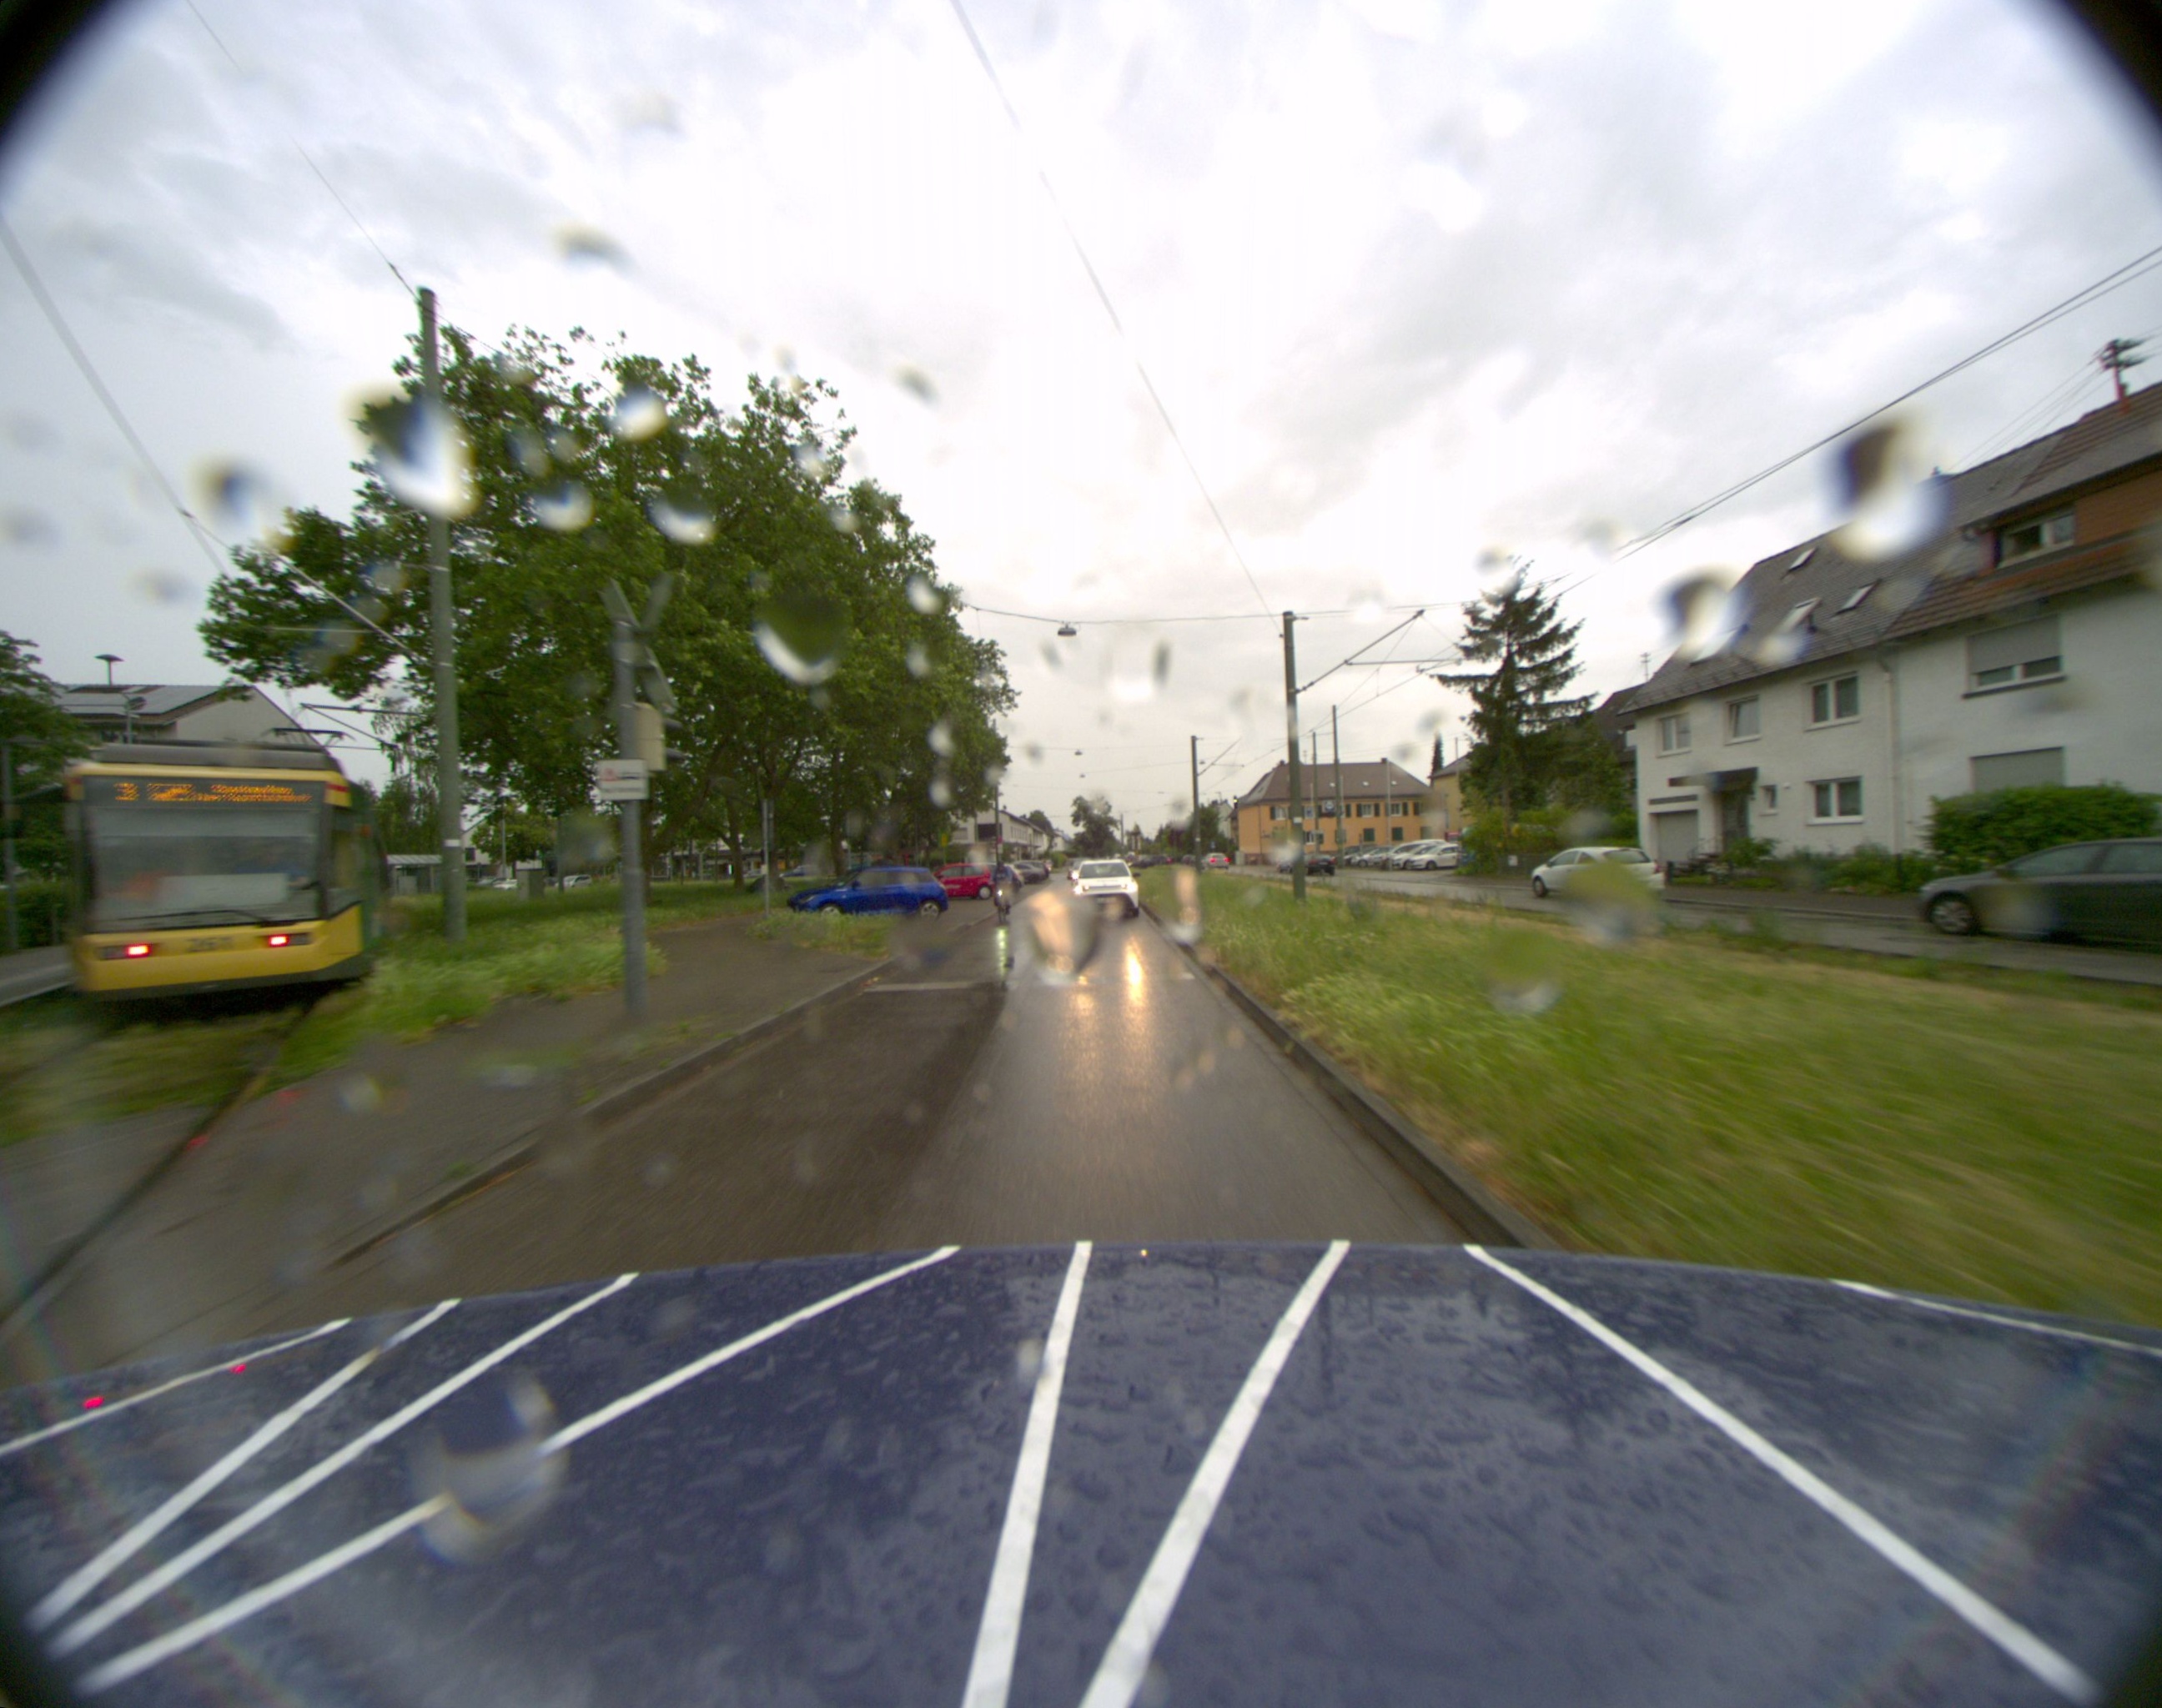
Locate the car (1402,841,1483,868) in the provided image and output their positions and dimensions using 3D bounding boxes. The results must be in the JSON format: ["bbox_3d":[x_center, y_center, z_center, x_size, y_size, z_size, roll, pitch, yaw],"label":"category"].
[{"bbox_3d":[22.002,0.021,46.398,3.996,1.455,1.914,-3,0,3],"label":"car"}]

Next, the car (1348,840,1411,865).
[{"bbox_3d":[21.610,-0.107,55.153,3.993,1.586,1.915,-3,0,15],"label":"car"}]

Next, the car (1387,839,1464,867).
[{"bbox_3d":[22.104,-0.088,48.870,3.996,1.586,1.914,-3,0,3],"label":"car"}]

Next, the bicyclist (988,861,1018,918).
[{"bbox_3d":[-2.126,0.957,20.834,0.710,1.503,0.715,-1,1,1],"label":"bicyclist"}]

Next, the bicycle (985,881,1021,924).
[{"bbox_3d":[-2.121,1.305,20.848,0.710,1.031,2.099,-1,0,1],"label":"bicycle"}]

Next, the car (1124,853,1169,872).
[{"bbox_3d":[6.291,0.817,72.291,4.120,1.732,2.001,-1,0,9],"label":"car"}]

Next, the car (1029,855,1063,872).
[{"bbox_3d":[-3.301,0.902,70.497,1.857,1.500,4.113,-1,0,-22],"label":"car"}]

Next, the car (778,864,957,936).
[{"bbox_3d":[-5.359,1.088,19.182,4.006,1.518,1.715,-2,1,-31],"label":"car"}]

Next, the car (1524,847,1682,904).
[{"bbox_3d":[14.461,0.538,21.349,1.715,1.432,4.000,-1,0,0],"label":"car"}]

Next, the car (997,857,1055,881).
[{"bbox_3d":[-3.900,1.044,53.865,3.711,1.513,1.616,-2,0,-24],"label":"car"}]

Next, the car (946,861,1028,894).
[{"bbox_3d":[-4.708,1.140,38.063,3.711,1.475,1.616,-2,0,-24],"label":"car"}]

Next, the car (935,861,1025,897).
[{"bbox_3d":[-4.604,1.115,34.667,3.711,1.475,1.616,-2,0,-24],"label":"car"}]

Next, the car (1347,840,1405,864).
[{"bbox_3d":[22.327,-0.153,57.626,3.991,1.586,1.916,-3,0,21],"label":"car"}]

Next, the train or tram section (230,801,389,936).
[{"bbox_3d":[-23.334,0.409,23.463,2.763,3.320,10.323,-2,0,-42],"label":"train or tram section"}]

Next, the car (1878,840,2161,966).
[{"bbox_3d":[14.097,0.580,10.172,1.891,1.523,4.756,-1,0,0],"label":"car"}]

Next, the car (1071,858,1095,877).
[{"bbox_3d":[0.141,1.021,58.979,1.712,1.363,3.877,-1,0,-1],"label":"car"}]

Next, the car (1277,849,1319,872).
[{"bbox_3d":[15.306,0.436,53.734,1.881,1.520,4.000,-1,0,1],"label":"car"}]

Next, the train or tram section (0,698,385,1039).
[{"bbox_3d":[-11.716,0.161,10.655,2.763,3.320,6.383,-2,1,-42],"label":"train or tram section"}]

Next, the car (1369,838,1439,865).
[{"bbox_3d":[21.939,-0.165,51.772,3.994,1.586,1.915,-3,0,9],"label":"car"}]

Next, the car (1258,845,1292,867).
[{"bbox_3d":[15.942,0.165,62.624,1.998,1.648,4.000,-3,0,3],"label":"car"}]

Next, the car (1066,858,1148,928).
[{"bbox_3d":[0.628,0.927,19.977,1.853,1.500,4.120,-3,0,0],"label":"car"}]

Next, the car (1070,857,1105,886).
[{"bbox_3d":[0.369,0.966,43.850,1.853,1.500,4.120,-1,0,0],"label":"car"}]

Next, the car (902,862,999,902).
[{"bbox_3d":[-5.321,1.091,31.028,3.582,1.451,1.616,-2,0,-25],"label":"car"}]

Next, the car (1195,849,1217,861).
[{"bbox_3d":[15.714,0.060,95.611,2.096,1.423,4.077,-1,0,0],"label":"car"}]

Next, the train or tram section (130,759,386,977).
[{"bbox_3d":[-16.864,0.263,16.315,2.763,3.320,10.323,-2,0,-42],"label":"train or tram section"}]

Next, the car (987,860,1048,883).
[{"bbox_3d":[-4.251,1.153,50.651,3.711,1.408,1.616,-2,0,-24],"label":"car"}]

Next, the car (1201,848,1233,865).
[{"bbox_3d":[12.128,0.250,67.968,2.106,1.423,4.279,-1,0,0],"label":"car"}]

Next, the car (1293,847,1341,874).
[{"bbox_3d":[15.203,0.401,49.086,1.912,1.581,4.000,-1,0,1],"label":"car"}]
